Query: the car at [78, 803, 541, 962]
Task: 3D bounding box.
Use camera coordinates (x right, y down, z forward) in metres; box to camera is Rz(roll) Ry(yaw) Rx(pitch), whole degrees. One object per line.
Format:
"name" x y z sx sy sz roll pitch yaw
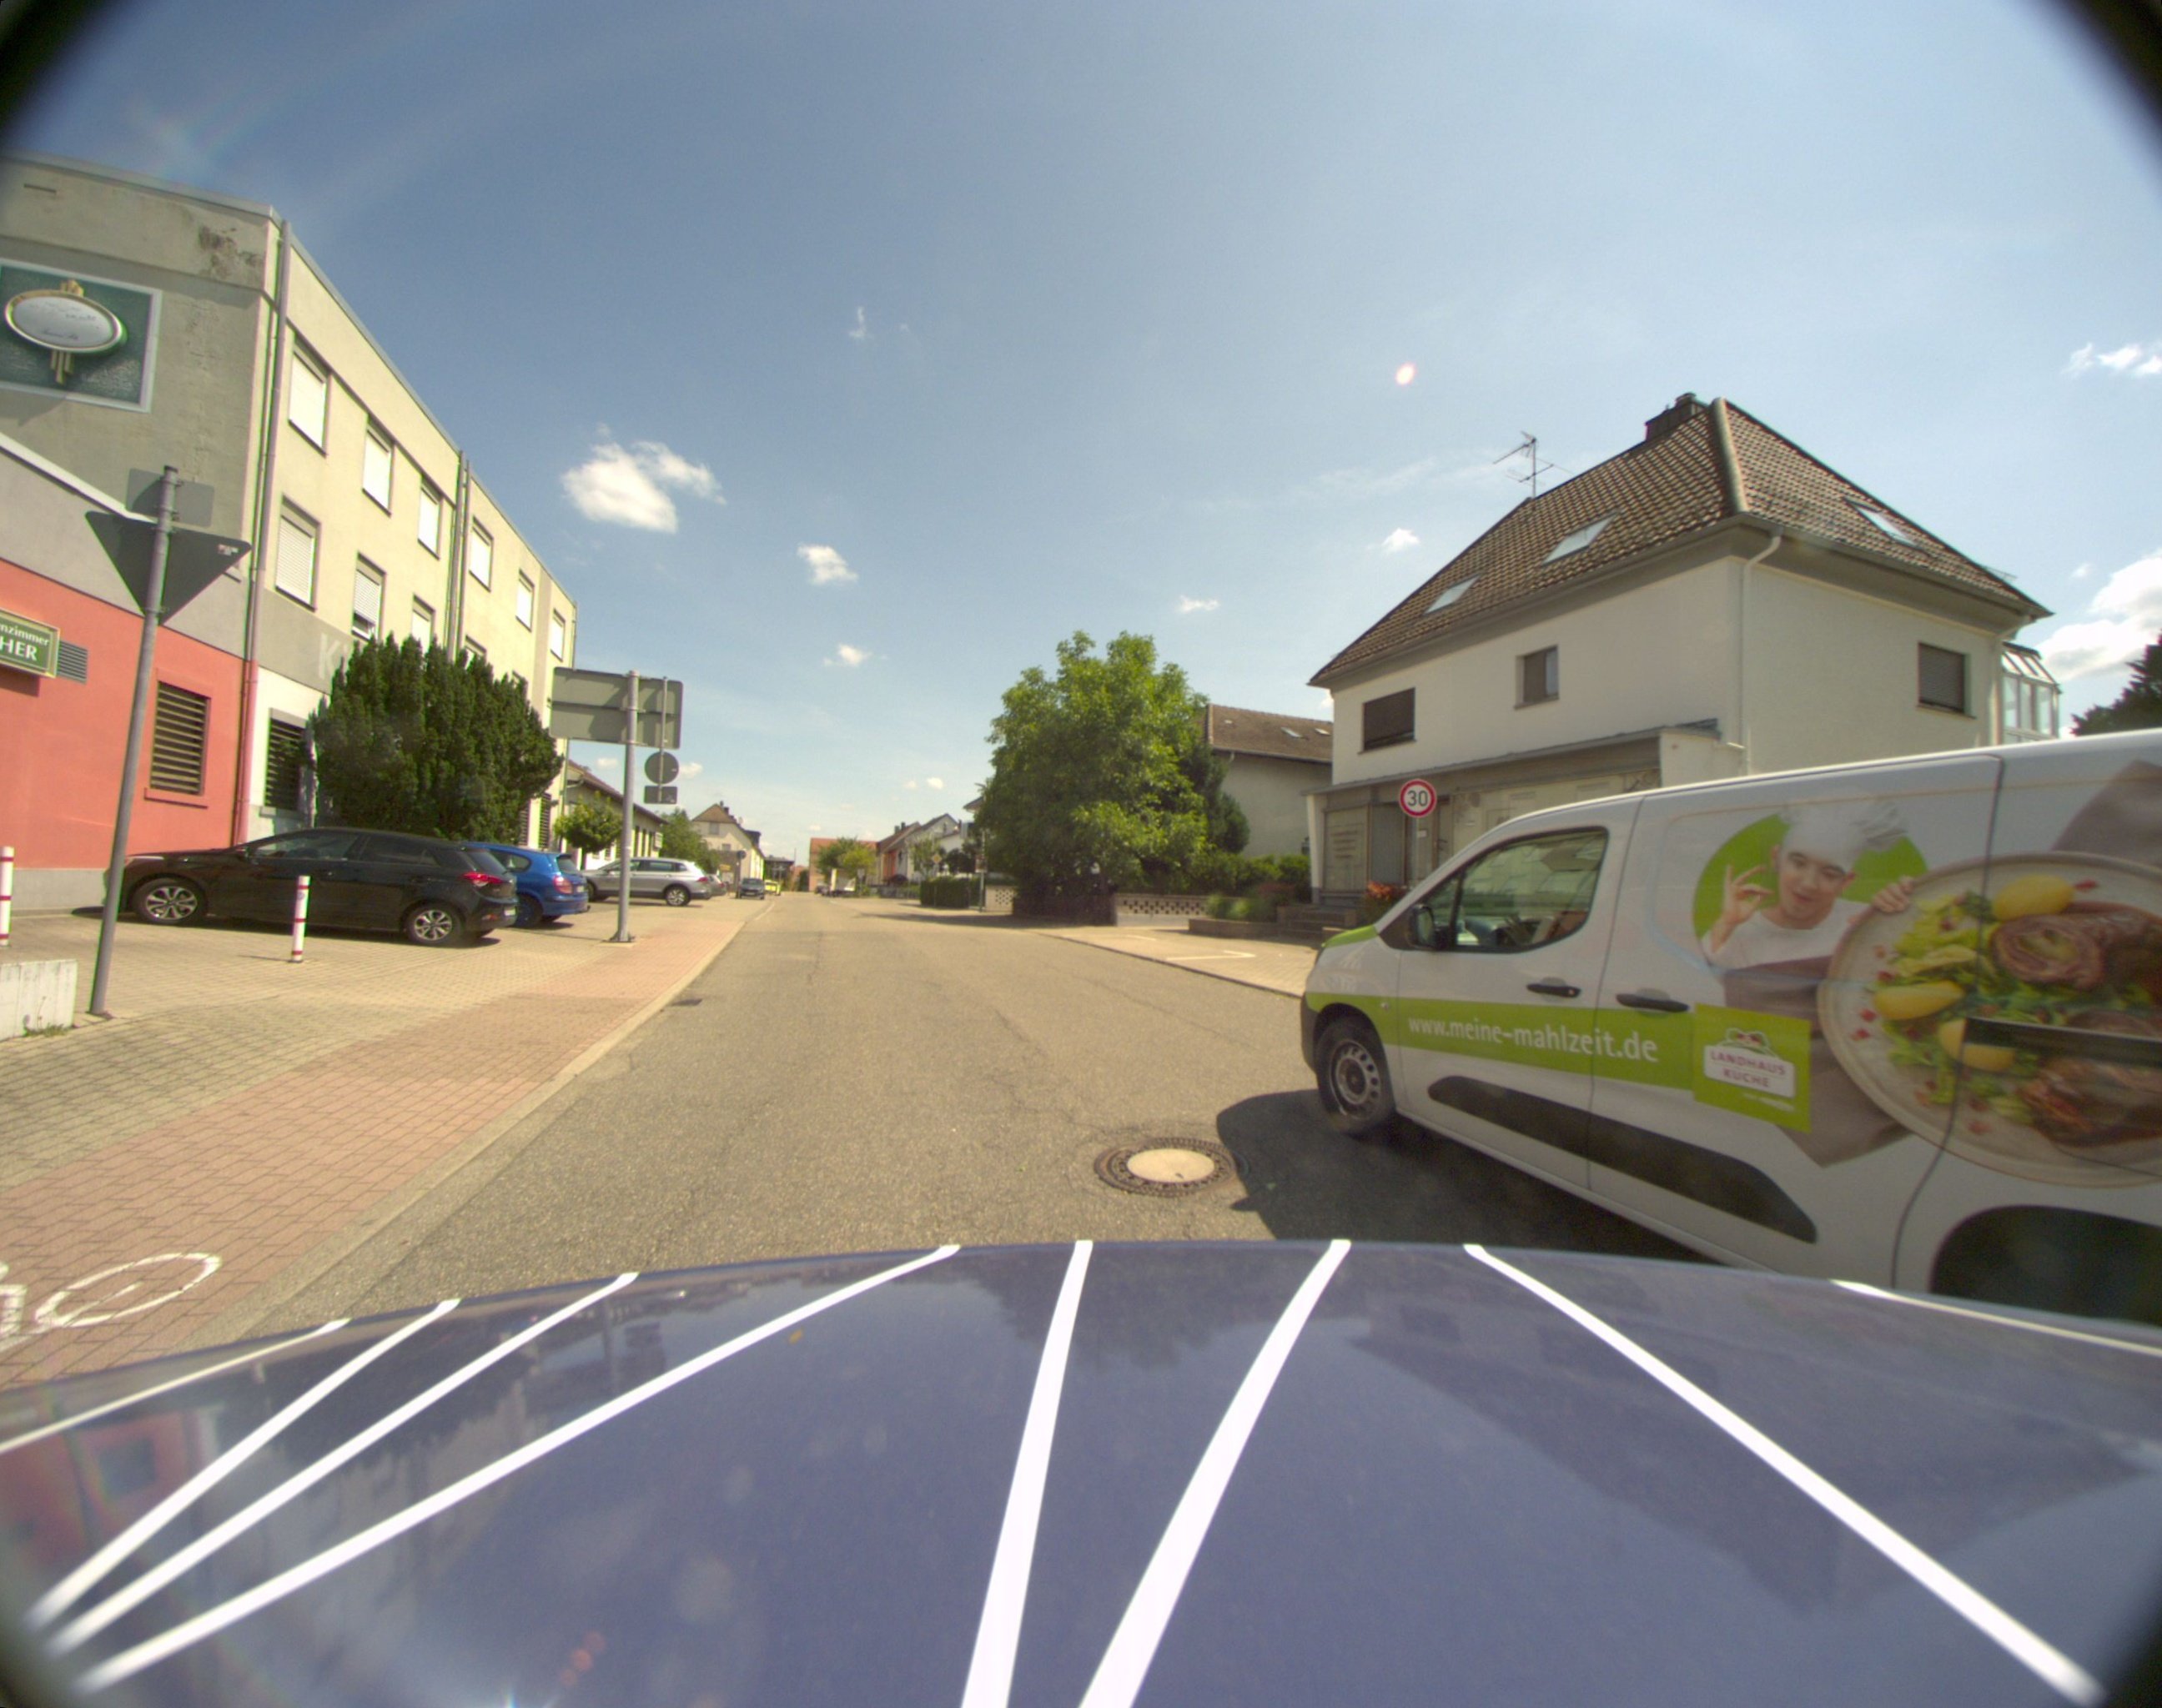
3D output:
"car" -10.157 0.441 10.488 3.914 1.480 1.806 10 -4 -22

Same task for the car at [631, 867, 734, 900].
"car" -21.194 1.600 40.643 4.547 1.445 1.915 5 -4 -21

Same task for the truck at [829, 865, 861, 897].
"truck" -27.121 3.103 87.068 2.449 3.225 7.025 7 -4 -23

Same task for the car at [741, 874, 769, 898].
"car" -22.204 2.171 51.893 1.635 1.479 4.133 4 -3 -22

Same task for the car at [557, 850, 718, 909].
"car" -15.203 0.926 26.368 4.474 1.686 1.919 5 -4 -23

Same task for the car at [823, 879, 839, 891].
"car" -34.797 4.277 105.842 1.724 1.490 4.209 5 -4 -21

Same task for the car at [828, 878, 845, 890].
"car" -32.185 3.959 99.982 1.724 1.490 4.209 5 -4 -21

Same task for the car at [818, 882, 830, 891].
"car" -45.422 5.698 134.248 1.724 1.490 4.209 5 -4 -21

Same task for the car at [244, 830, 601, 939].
"car" -11.342 0.554 13.526 4.343 1.431 1.776 6 -1 -22

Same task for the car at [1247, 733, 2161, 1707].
"car" 2.542 0.714 3.069 1.818 1.843 4.555 -2 -1 -13

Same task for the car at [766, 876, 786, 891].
"car" -32.091 3.127 79.913 1.724 1.389 4.209 7 -5 -20
